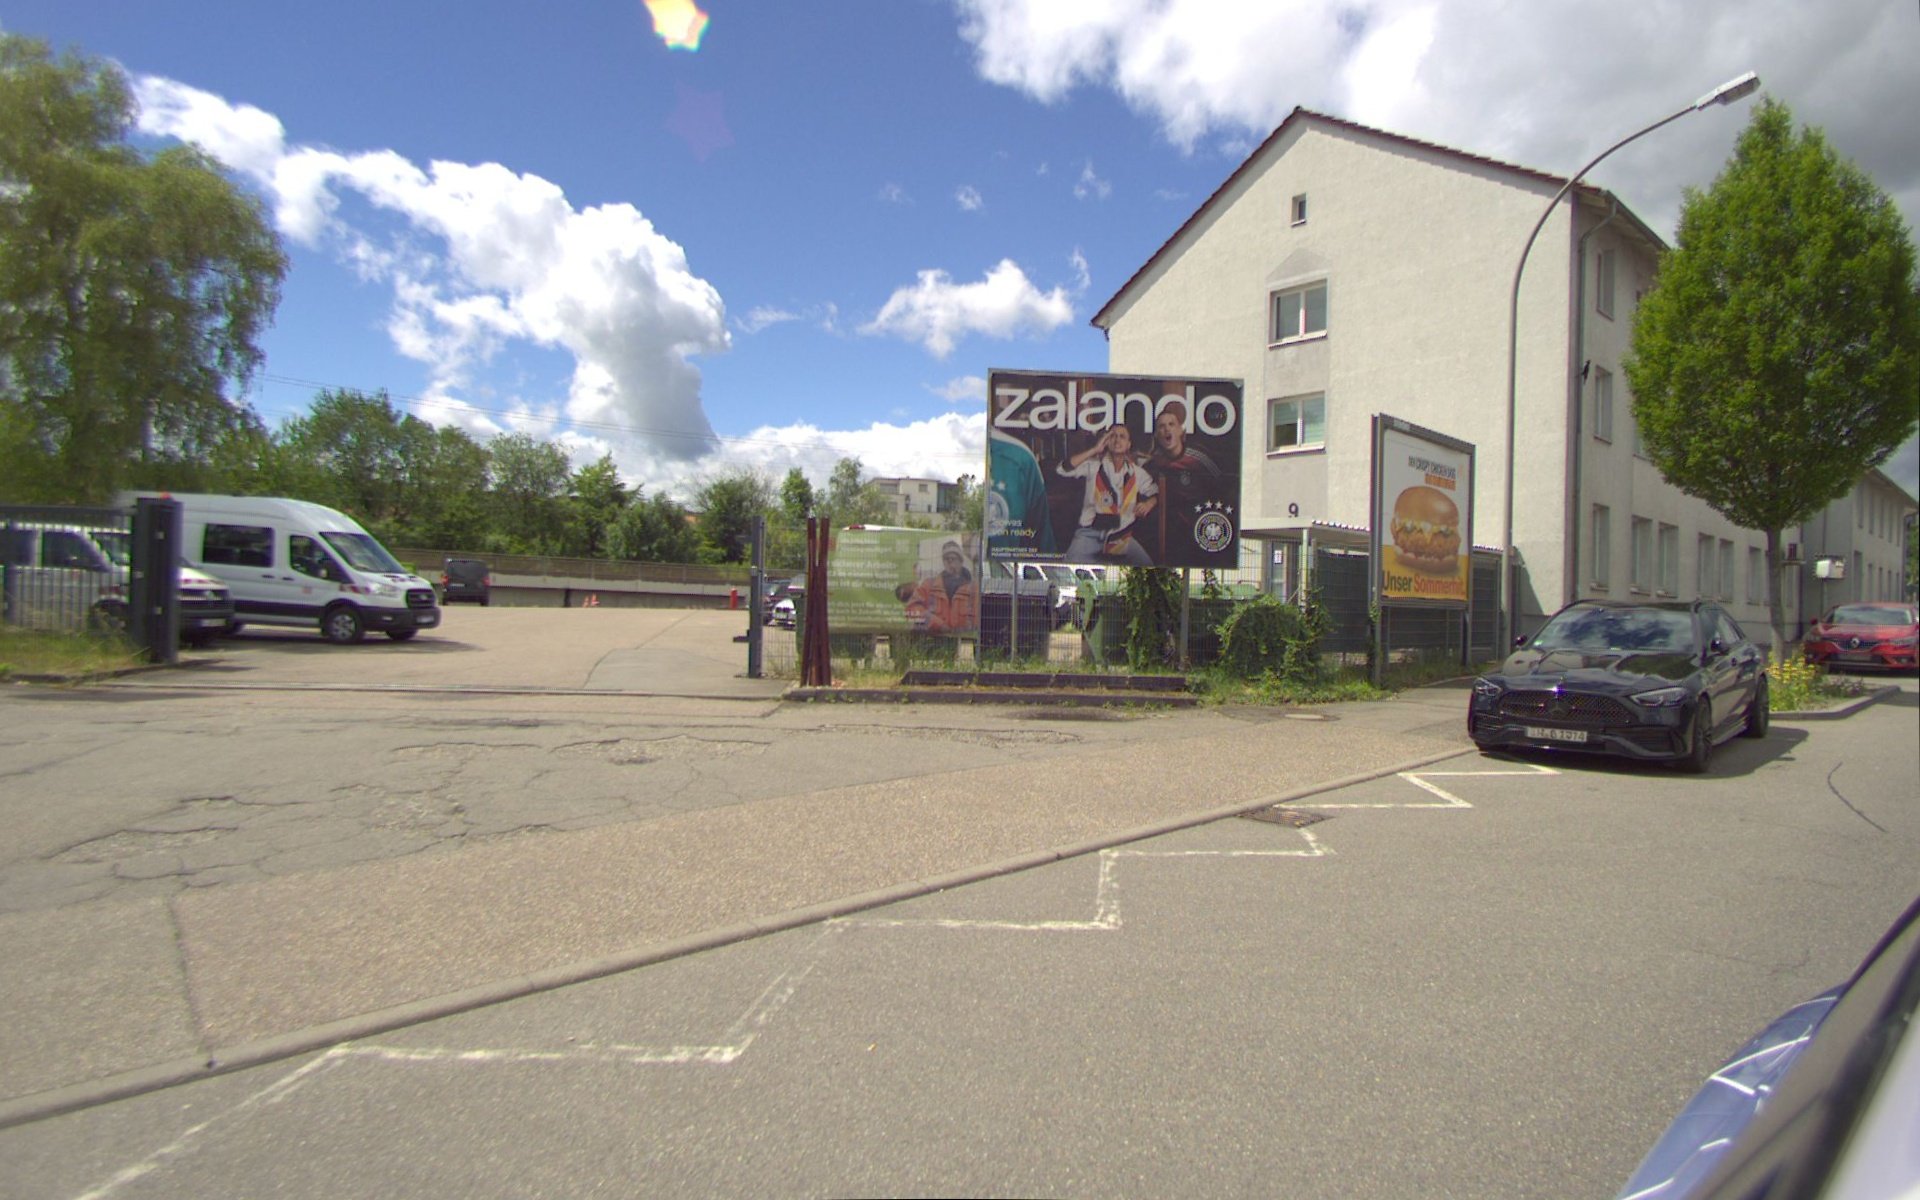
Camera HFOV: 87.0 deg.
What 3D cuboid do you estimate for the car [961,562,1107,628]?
[{"bbox_3d":[2.423,-0.208,34.281,1.966,2.060,4.958,-2,2,-42],"label":"car"}]

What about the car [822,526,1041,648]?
[{"bbox_3d":[-0.615,-0.407,25.747,5.364,2.802,2.279,-3,2,-42],"label":"car"}]

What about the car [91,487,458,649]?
[{"bbox_3d":[-13.224,-0.636,19.761,5.864,2.879,2.066,1,1,2],"label":"car"}]

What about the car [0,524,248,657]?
[{"bbox_3d":[-14.818,-0.201,16.640,5.003,2.006,1.834,1,2,2],"label":"car"}]

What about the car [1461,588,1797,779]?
[{"bbox_3d":[6.905,0.633,10.221,4.629,1.484,1.793,-1,1,-43],"label":"car"}]

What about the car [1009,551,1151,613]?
[{"bbox_3d":[4.196,-0.648,36.136,1.966,2.060,4.958,-2,2,-42],"label":"car"}]

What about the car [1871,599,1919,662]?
[{"bbox_3d":[24.027,0.725,25.048,4.777,1.442,1.737,1,-1,-42],"label":"car"}]

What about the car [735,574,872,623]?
[{"bbox_3d":[-4.931,-0.083,32.142,3.931,1.380,1.811,-3,2,-41],"label":"car"}]

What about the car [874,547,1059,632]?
[{"bbox_3d":[0.087,-0.374,32.691,2.239,2.481,6.165,-3,2,-45],"label":"car"}]

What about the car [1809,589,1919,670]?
[{"bbox_3d":[18.842,0.557,20.617,4.186,1.491,1.738,1,0,-41],"label":"car"}]

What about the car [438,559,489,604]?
[{"bbox_3d":[-21.502,-0.801,43.746,1.846,1.822,4.006,-2,2,-27],"label":"car"}]

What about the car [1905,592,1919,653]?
[{"bbox_3d":[28.098,0.617,28.731,4.718,1.659,1.677,1,-2,-45],"label":"car"}]
